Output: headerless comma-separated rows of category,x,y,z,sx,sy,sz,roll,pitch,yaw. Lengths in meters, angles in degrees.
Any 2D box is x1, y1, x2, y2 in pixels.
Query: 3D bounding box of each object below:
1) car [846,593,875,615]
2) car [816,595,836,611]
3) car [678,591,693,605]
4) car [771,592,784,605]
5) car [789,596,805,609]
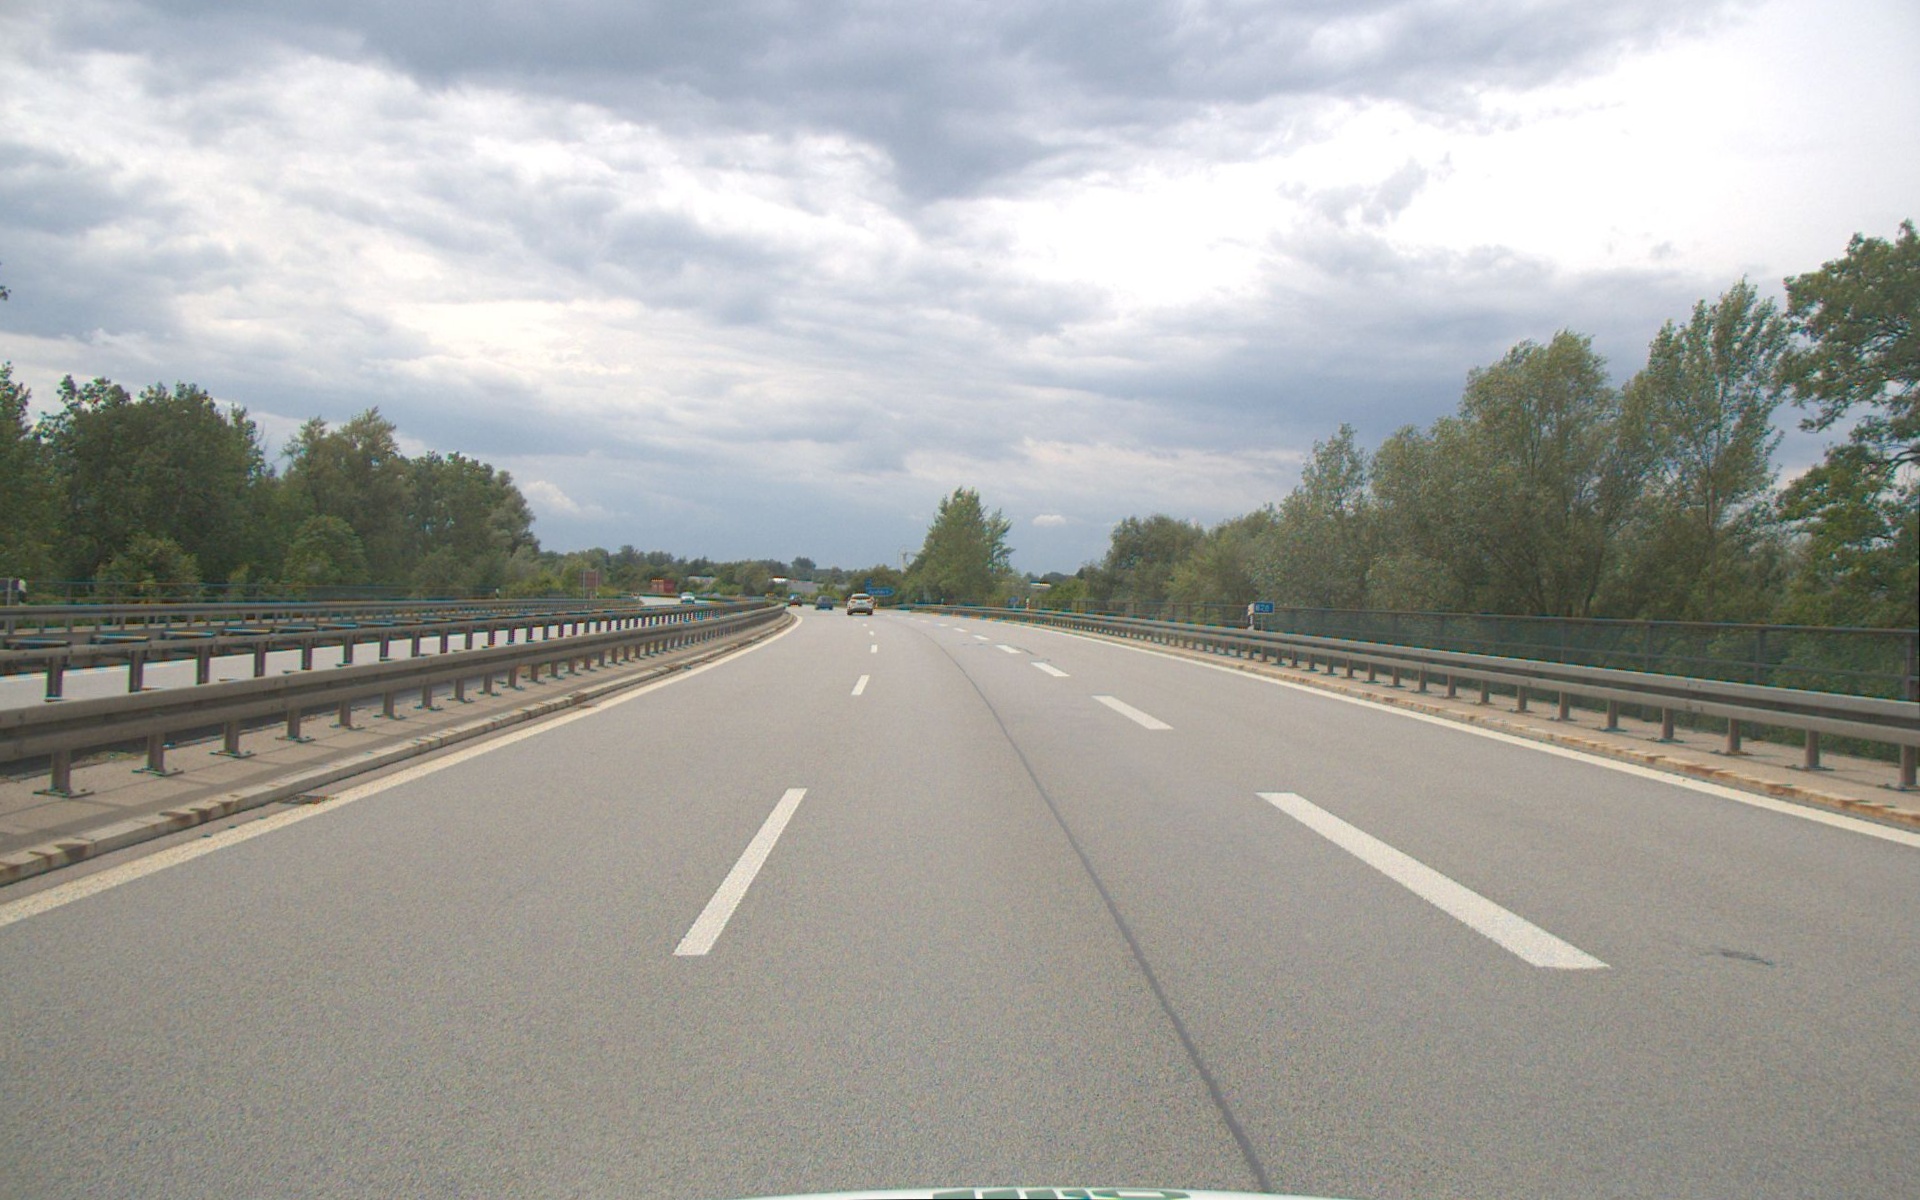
car,-7.810,0.272,129.486,1.867,1.668,4.386,1,0,-9
car,-14.497,0.328,178.686,1.857,1.668,4.613,1,0,-8
car,-36.255,-0.264,218.520,1.611,1.745,4.974,2,0,-6
car,-28.215,-0.252,255.885,1.793,1.825,4.404,1,0,-9
car,-21.800,0.283,220.937,1.867,1.668,4.770,1,0,-9
